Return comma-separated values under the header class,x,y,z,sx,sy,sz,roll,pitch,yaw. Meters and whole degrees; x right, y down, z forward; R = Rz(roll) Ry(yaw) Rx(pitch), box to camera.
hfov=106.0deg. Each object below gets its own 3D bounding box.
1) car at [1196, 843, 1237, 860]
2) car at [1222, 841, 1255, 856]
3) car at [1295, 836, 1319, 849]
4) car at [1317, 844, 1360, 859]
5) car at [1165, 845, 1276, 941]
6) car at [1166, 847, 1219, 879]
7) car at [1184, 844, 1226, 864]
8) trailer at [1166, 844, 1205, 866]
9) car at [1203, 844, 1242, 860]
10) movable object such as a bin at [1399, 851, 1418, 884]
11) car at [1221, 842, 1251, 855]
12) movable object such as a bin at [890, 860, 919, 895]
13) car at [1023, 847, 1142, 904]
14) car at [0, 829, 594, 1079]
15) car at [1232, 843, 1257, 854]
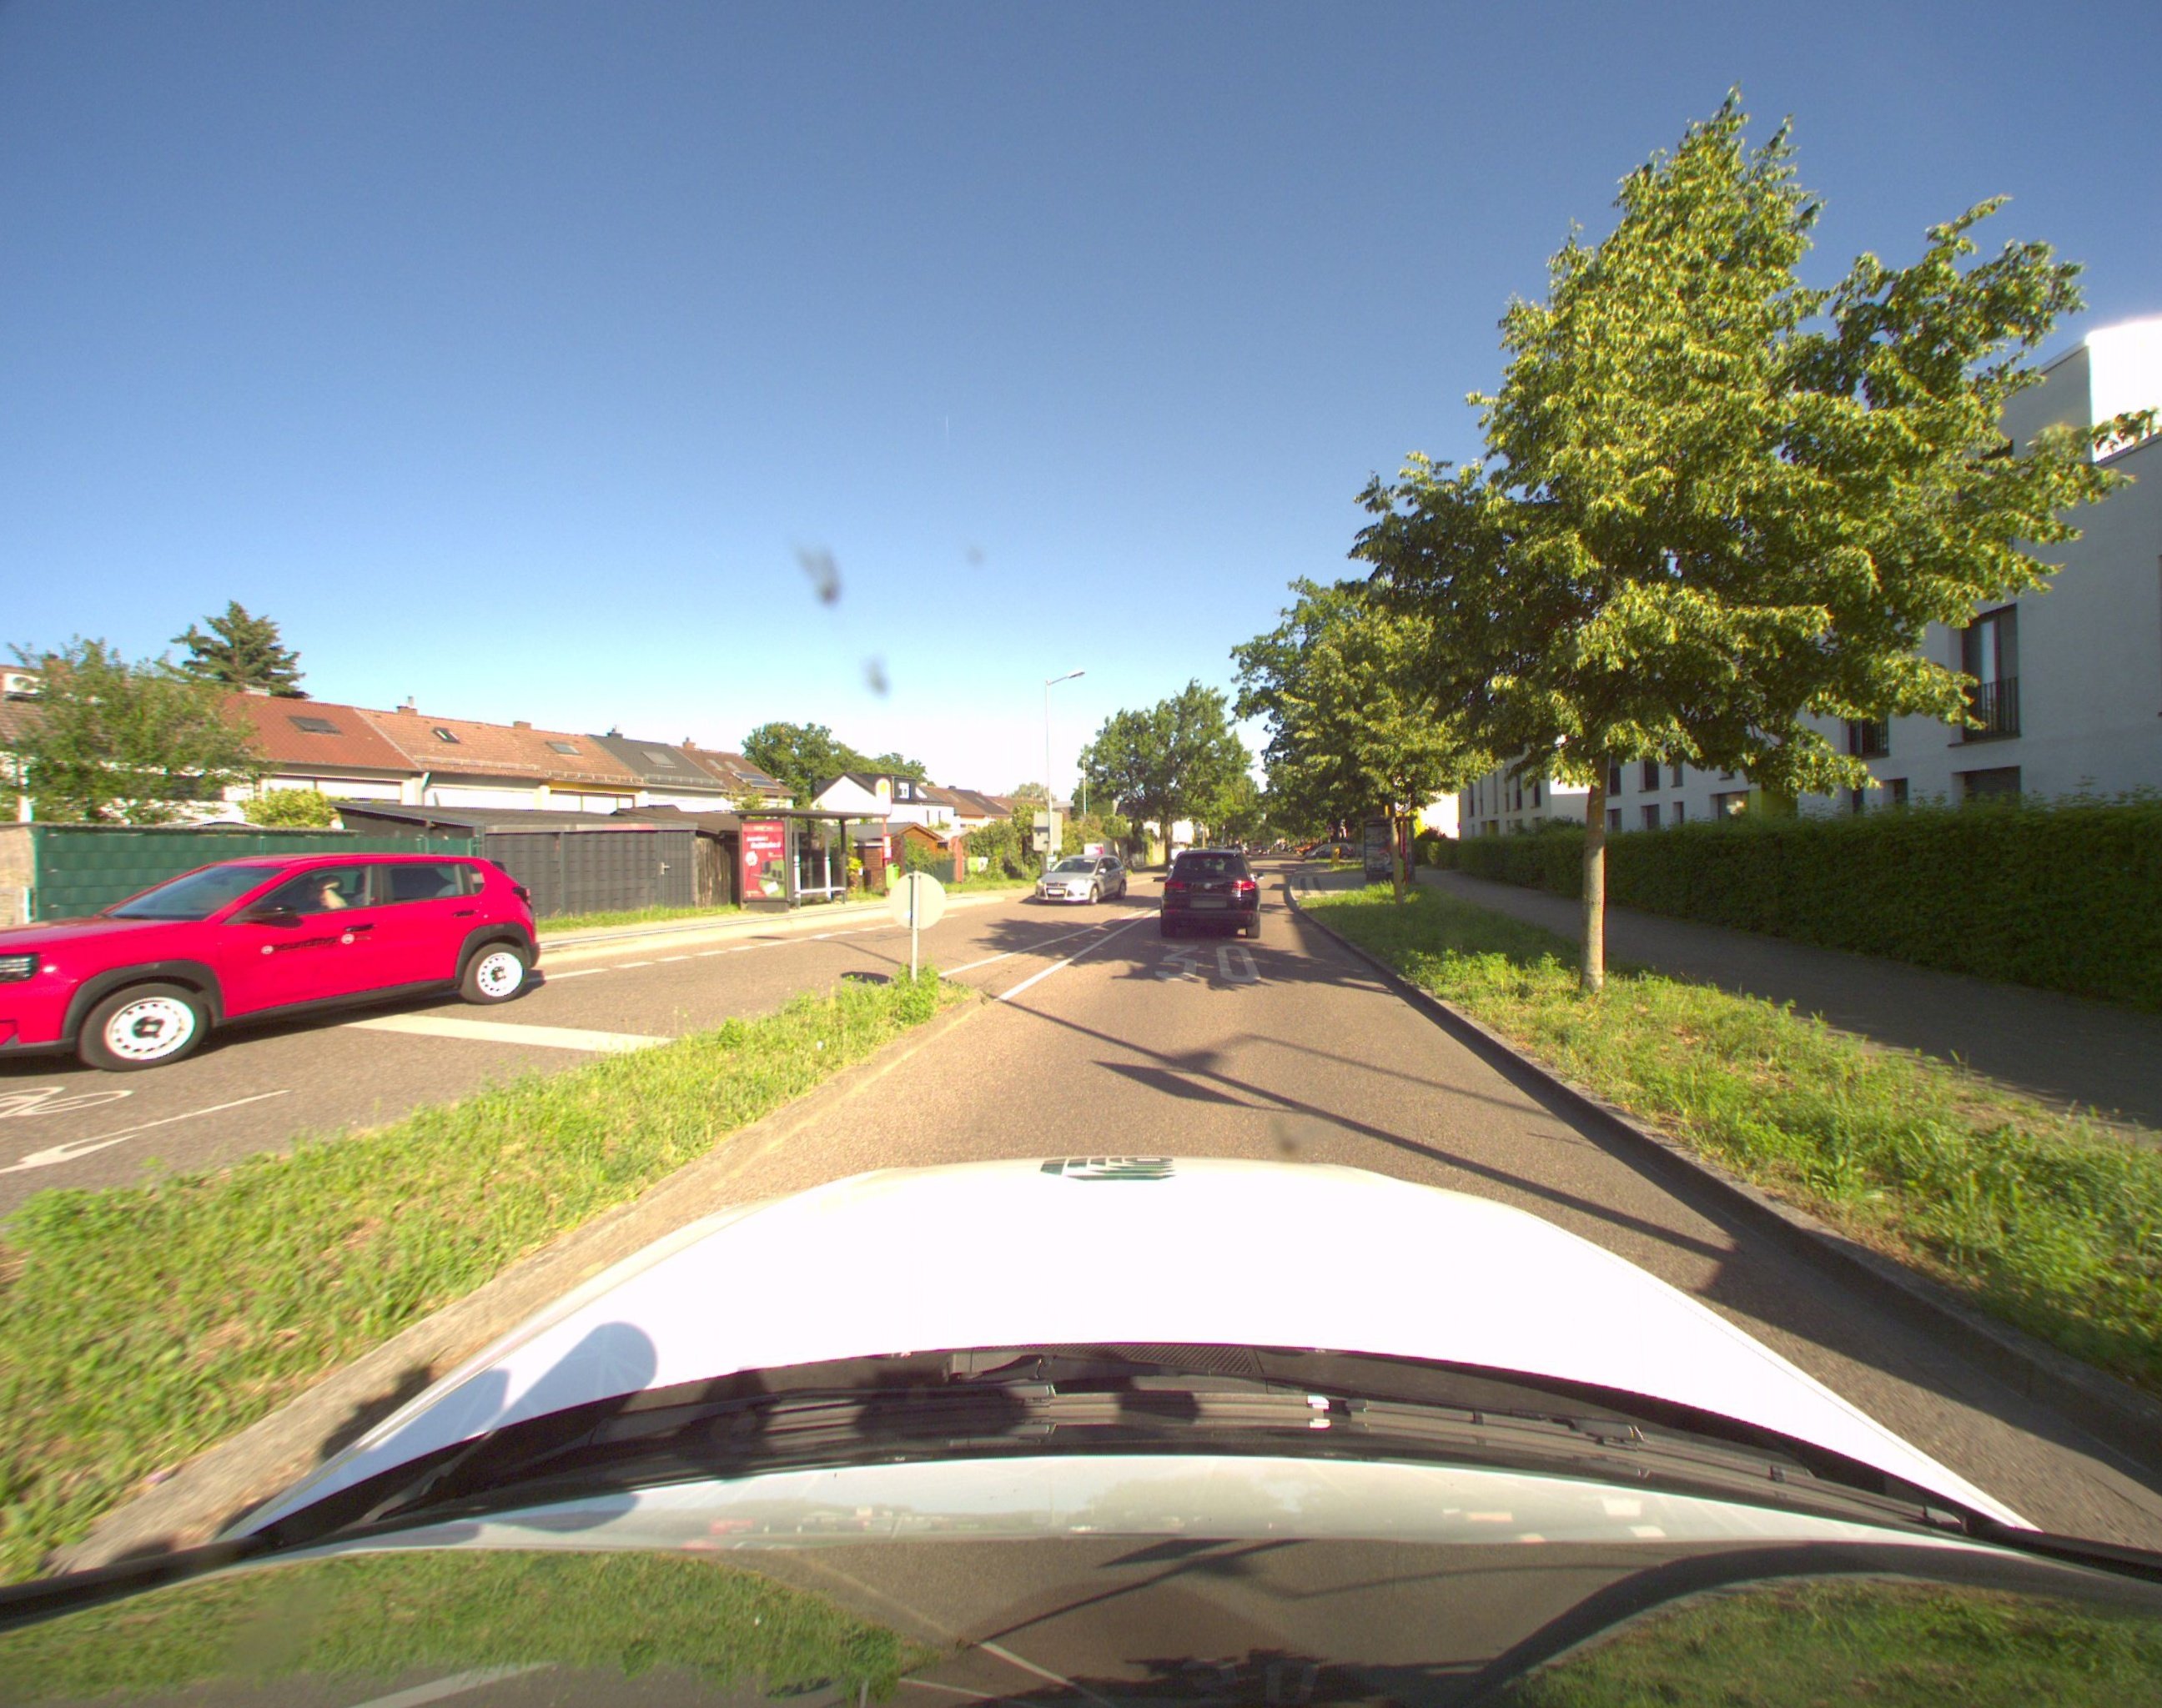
class,x,y,z,sx,sy,sz,roll,pitch,yaw
car,14.025,-0.226,84.368,3.957,1.670,2.009,-1,0,16
car,21.851,-0.798,113.108,4.362,1.939,1.583,-1,-1,10
car,38.966,-1.938,140.544,3.957,2.014,2.008,-2,-2,15
car,25.084,-0.270,79.440,3.958,1.368,1.854,-1,0,14
car,2.886,0.650,16.557,1.917,1.654,4.528,0,1,11
car,5.490,0.371,39.668,1.979,1.443,4.469,0,1,15
car,10.633,-0.027,69.893,3.528,1.613,1.857,-1,0,9
trailer,8.378,0.055,65.252,2.948,1.656,1.401,-2,0,11
car,15.557,-0.238,89.510,3.956,1.640,2.009,-1,0,16
movable object such as a bin,10.495,0.428,26.104,0.367,1.016,0.601,-1,0,5
car,21.074,-0.699,110.746,3.958,1.720,1.827,-1,-1,14
movable object such as a bin,-5.288,0.698,24.404,0.588,0.967,0.561,3,2,19
car,0.178,0.588,25.294,2.190,1.591,4.558,-1,0,21
car,-7.068,0.623,7.449,1.924,1.588,4.201,-1,0,19
car,27.224,-0.919,135.556,3.965,1.684,1.927,-2,0,7
